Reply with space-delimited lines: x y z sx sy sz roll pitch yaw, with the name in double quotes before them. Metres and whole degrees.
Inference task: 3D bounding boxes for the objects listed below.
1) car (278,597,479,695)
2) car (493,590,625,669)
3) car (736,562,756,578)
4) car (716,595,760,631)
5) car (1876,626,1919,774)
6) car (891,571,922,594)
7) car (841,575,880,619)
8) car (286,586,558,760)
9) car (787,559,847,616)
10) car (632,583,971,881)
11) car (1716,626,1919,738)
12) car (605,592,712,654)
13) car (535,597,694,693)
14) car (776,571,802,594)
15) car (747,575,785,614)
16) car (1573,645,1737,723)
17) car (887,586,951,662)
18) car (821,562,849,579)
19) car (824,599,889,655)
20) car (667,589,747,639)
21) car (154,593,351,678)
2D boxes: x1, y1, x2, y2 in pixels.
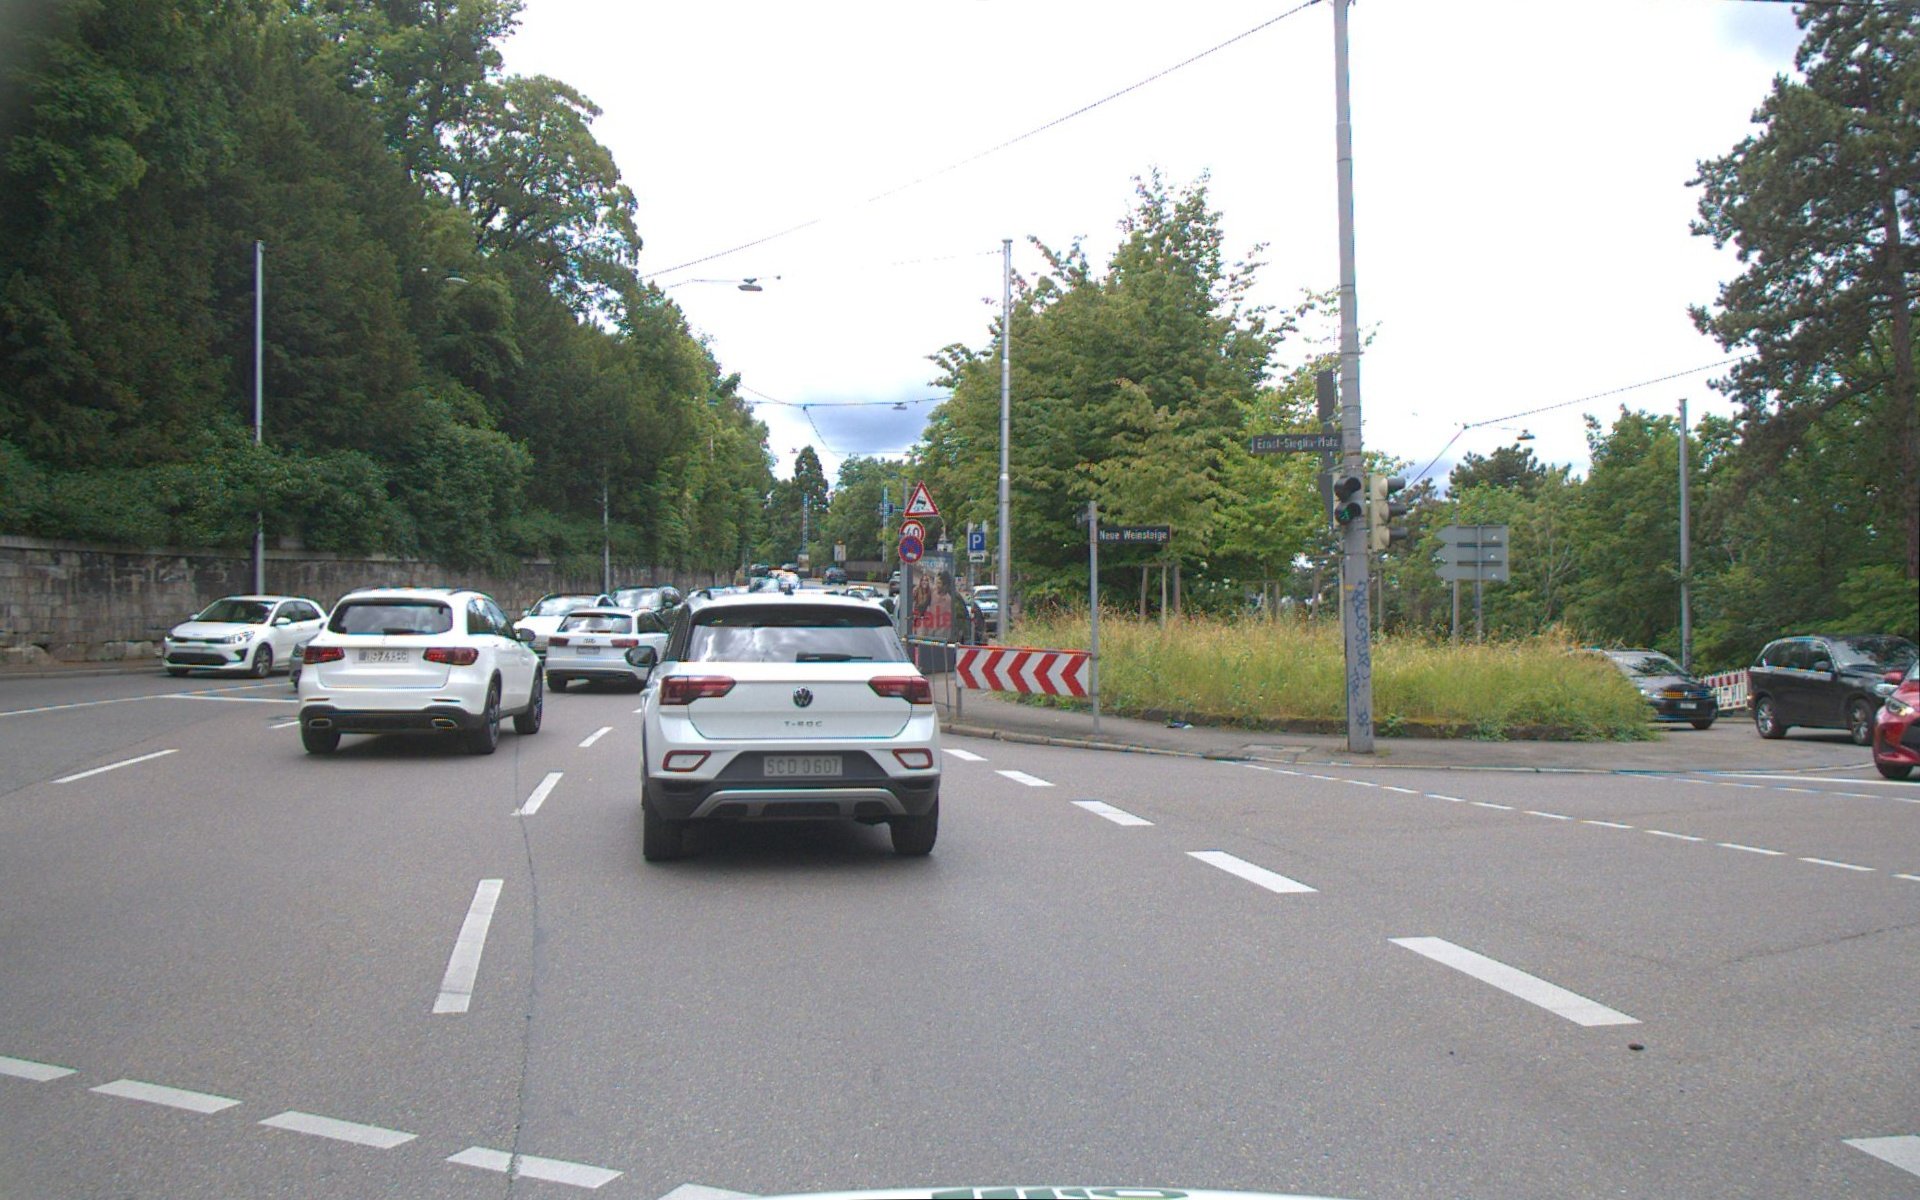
"car" -9.766 0.713 28.157 1.720 1.467 4.480 2 0 1
"car" -9.311 0.647 38.752 1.953 1.665 4.398 2 0 0
"car" -23.976 -3.361 185.448 1.720 1.817 3.983 0 1 -16
"car" -10.039 0.601 74.969 1.617 1.544 3.849 1 -1 -2
"car" 11.291 1.040 17.859 1.642 1.494 3.932 -3 -3 41
"car" -3.583 -1.187 110.876 1.617 1.476 3.538 0 1 -10
"car" -4.496 -0.128 74.240 1.602 1.851 3.996 -2 0 -5
"car" -5.641 0.692 17.965 1.823 1.634 4.665 0 0 -6
"car" -4.497 -0.421 52.284 1.752 1.664 3.734 1 2 -4
"car" -1.262 0.709 11.142 1.724 1.580 4.323 -1 0 -13
"car" 14.643 1.365 27.784 1.776 1.706 4.678 -1 -3 1
"car" -8.470 0.607 46.827 1.853 1.594 4.482 2 0 4
"car" -6.208 0.759 30.297 1.826 1.561 4.777 1 0 1
"car" -11.160 -1.158 108.193 1.615 1.476 3.543 0 2 -5
"car" -10.586 -0.309 90.499 1.698 2.049 3.931 0 1 -2
"car" 14.357 1.736 34.418 1.681 1.511 3.999 -1 -2 0
"car" -0.976 0.552 40.469 1.464 1.779 3.118 0 1 1
"car" -11.076 -2.574 146.650 1.622 1.476 3.527 0 1 -19
"car" -2.852 0.724 46.034 1.595 1.444 3.854 1 0 -1
"car" -8.104 0.424 53.351 1.779 1.465 4.064 1 1 2
"car" -13.083 0.616 30.850 1.604 1.430 4.067 2 0 5
